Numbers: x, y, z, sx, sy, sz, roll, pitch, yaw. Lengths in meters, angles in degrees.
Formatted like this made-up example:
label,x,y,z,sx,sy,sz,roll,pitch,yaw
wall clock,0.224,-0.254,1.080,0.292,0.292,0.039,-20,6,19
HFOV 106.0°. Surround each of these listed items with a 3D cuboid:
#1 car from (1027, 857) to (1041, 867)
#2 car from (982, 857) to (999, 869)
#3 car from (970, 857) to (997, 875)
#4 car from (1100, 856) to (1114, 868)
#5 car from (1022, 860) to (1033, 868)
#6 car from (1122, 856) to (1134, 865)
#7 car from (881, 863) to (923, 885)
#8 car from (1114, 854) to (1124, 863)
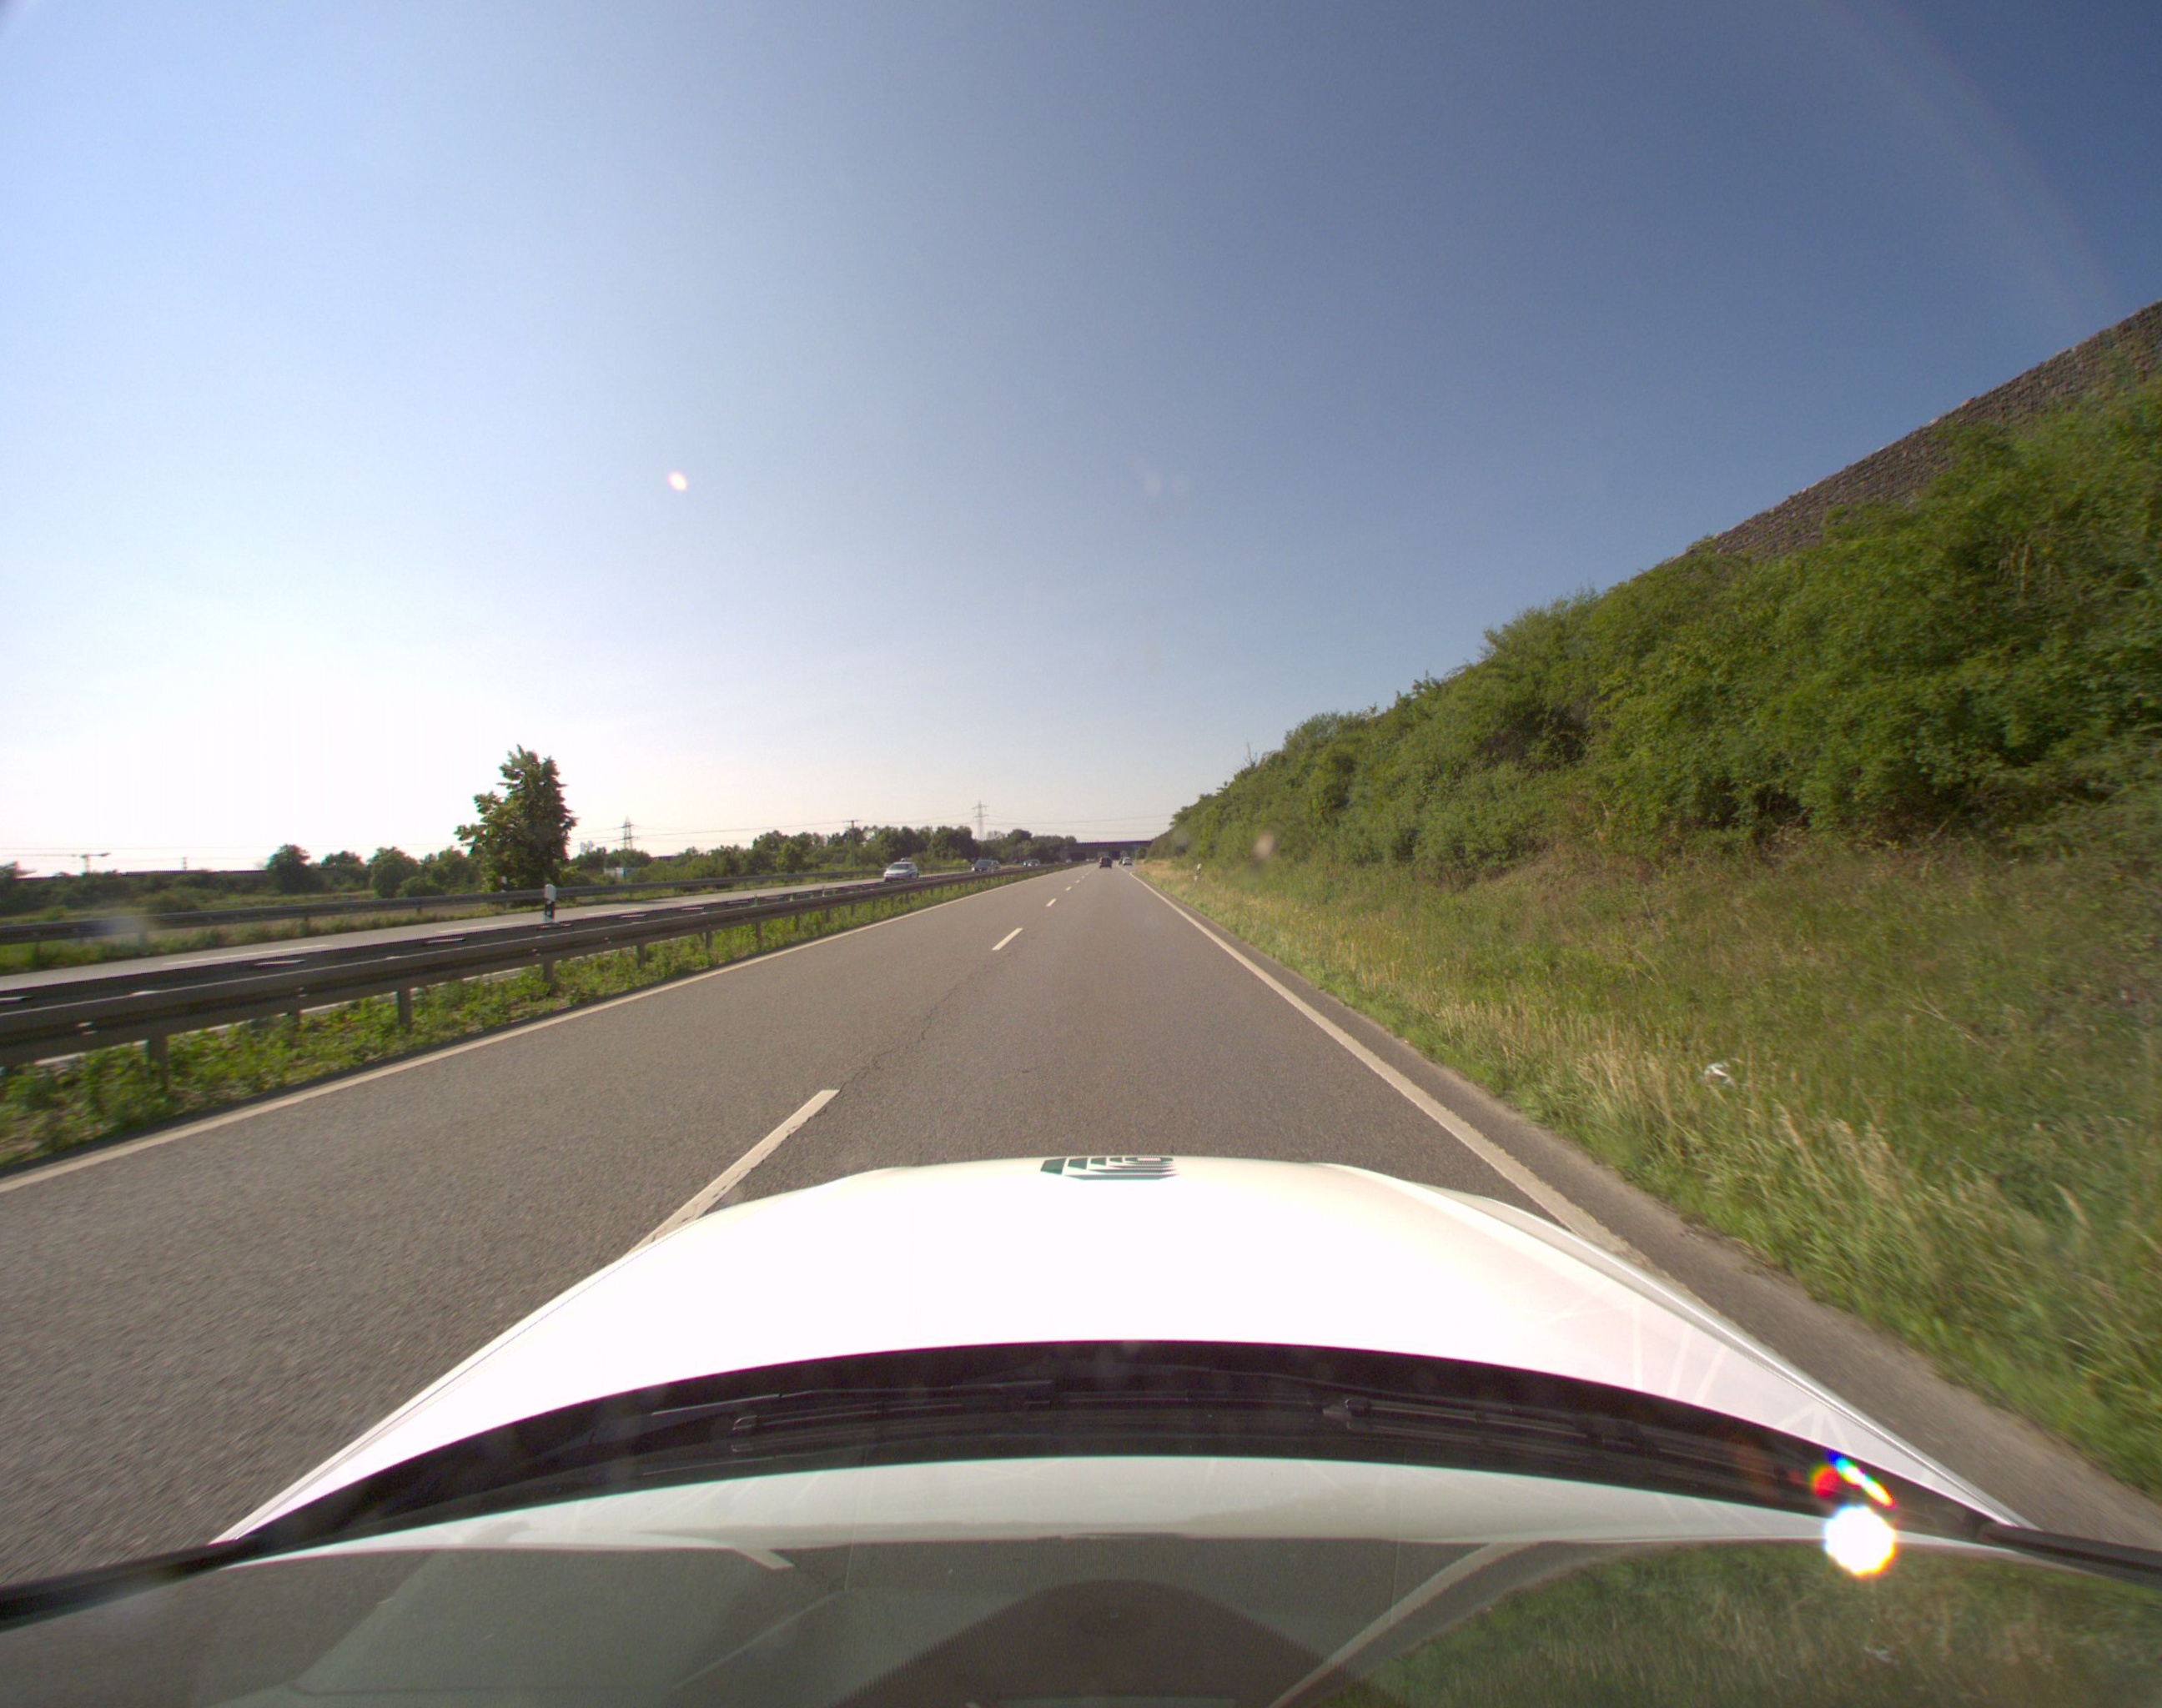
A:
label,x,y,z,sx,sy,sz,roll,pitch,yaw
car,-7.350,1.240,127.160,1.808,1.473,4.325,-1,0,2
car,-11.782,1.185,106.116,1.707,1.450,4.323,-2,0,0
car,-8.470,1.031,71.044,1.706,1.470,4.417,0,0,2
car,3.696,1.169,115.561,1.841,1.644,4.005,-2,0,5
car,-10.422,1.853,158.856,1.808,1.473,4.325,-1,0,2
car,8.634,1.140,148.861,1.786,1.665,4.009,0,0,8
car,-12.386,1.352,56.515,1.814,1.396,4.417,0,0,2
car,8.653,0.970,184.708,1.986,2.013,4.002,-4,0,2
